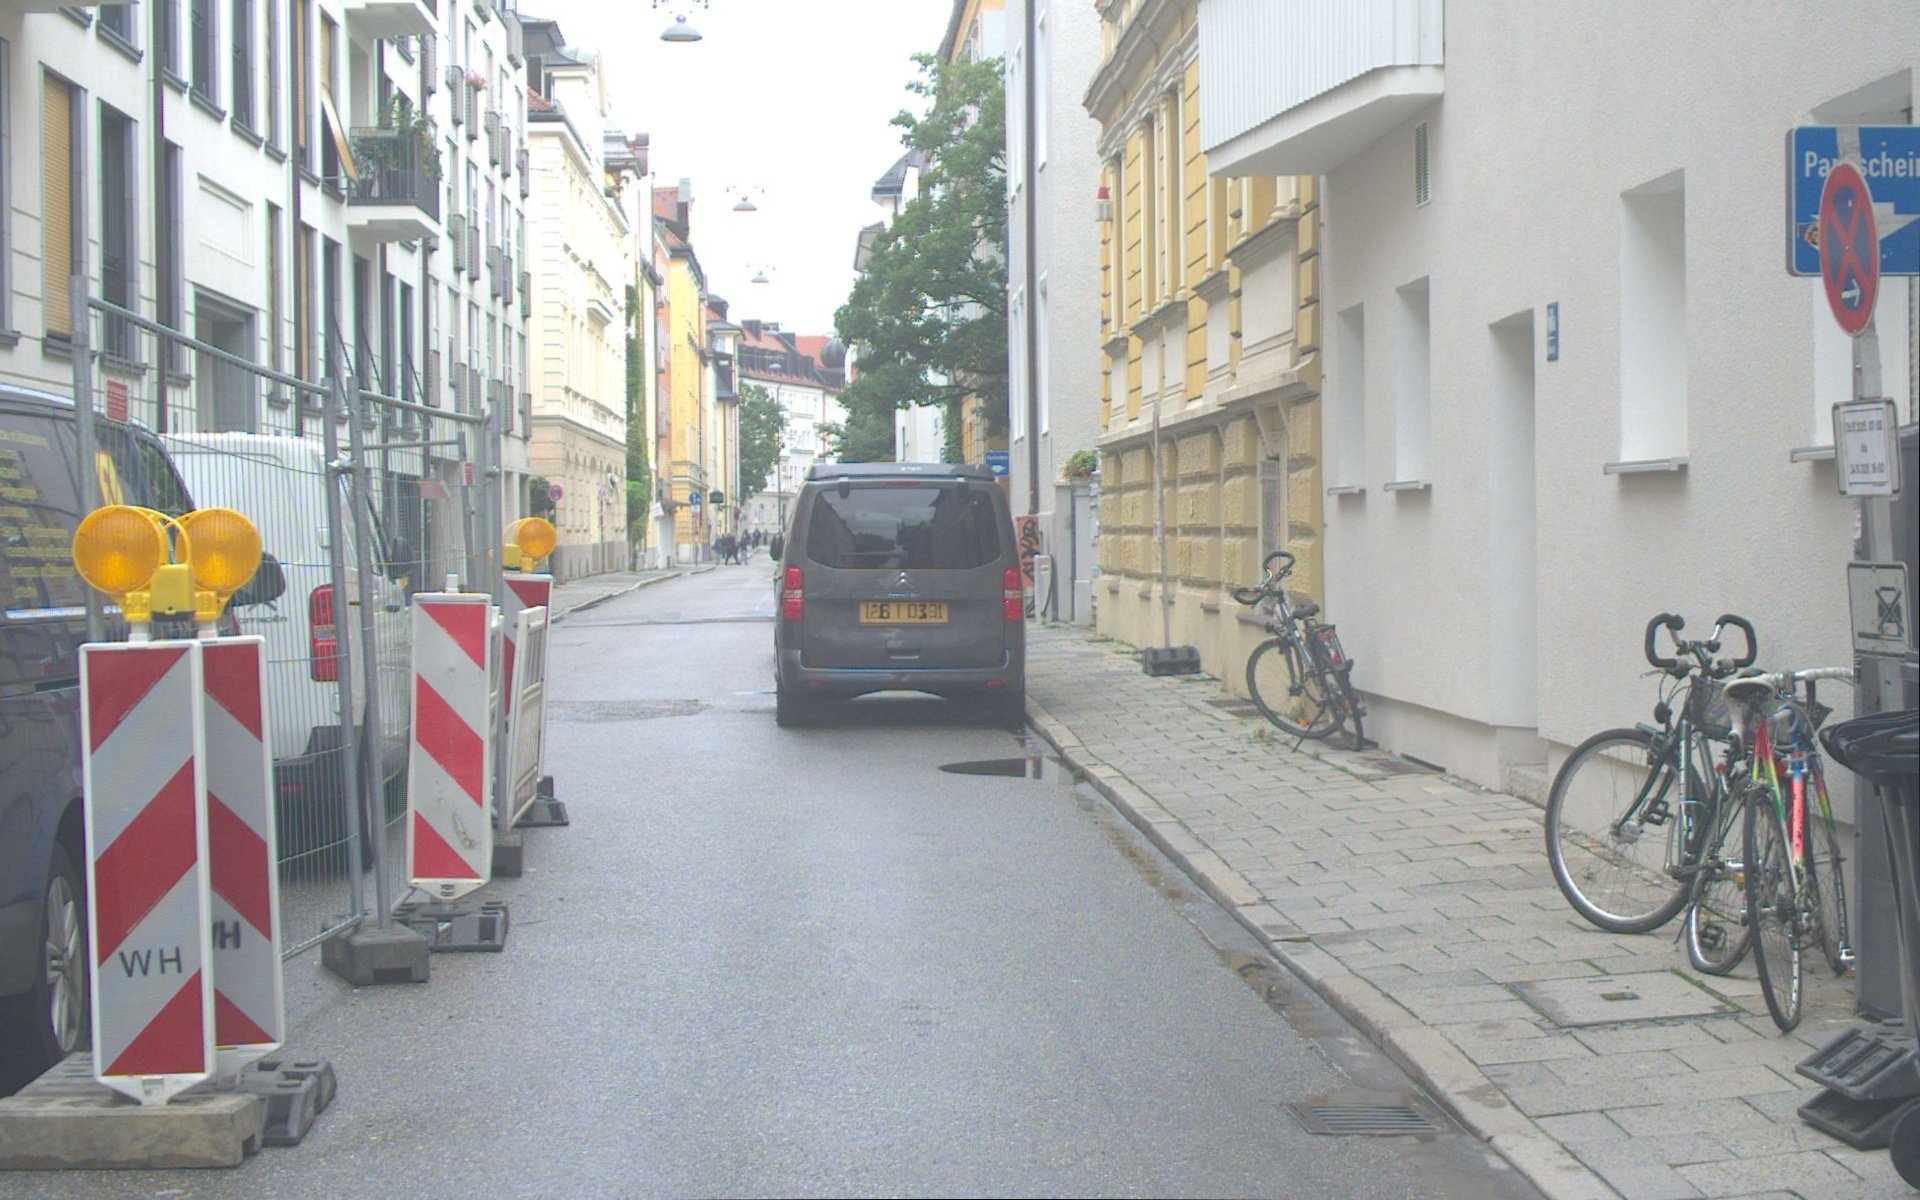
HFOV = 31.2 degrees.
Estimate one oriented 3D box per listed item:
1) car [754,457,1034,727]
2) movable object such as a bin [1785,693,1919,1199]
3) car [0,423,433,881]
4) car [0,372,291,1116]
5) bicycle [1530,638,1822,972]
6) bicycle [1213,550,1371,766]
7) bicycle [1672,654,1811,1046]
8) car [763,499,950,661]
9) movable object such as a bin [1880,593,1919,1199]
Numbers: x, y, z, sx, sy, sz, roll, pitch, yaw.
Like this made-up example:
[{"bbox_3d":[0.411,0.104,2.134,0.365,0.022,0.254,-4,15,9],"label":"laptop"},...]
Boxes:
[{"bbox_3d":[-0.607,-0.112,27.224,1.993,1.925,4.661,1,1,-3],"label":"car"},{"bbox_3d":[2.421,0.740,7.144,1.211,1.091,0.789,-4,1,6],"label":"movable object such as a bin"},{"bbox_3d":[-3.680,0.170,16.814,1.904,1.891,5.090,0,1,-6],"label":"car"},{"bbox_3d":[-3.416,0.346,10.792,1.727,1.891,5.509,-2,1,-3],"label":"car"},{"bbox_3d":[2.354,0.649,11.423,0.404,0.988,1.329,-4,1,-11],"label":"bicycle"},{"bbox_3d":[1.952,0.313,20.411,0.638,1.149,1.915,-3,2,-2],"label":"bicycle"},{"bbox_3d":[2.276,0.695,10.079,0.281,0.988,1.433,-3,1,11],"label":"bicycle"},{"bbox_3d":[-1.172,-0.254,37.219,1.894,1.635,4.322,-1,1,-3],"label":"car"},{"bbox_3d":[2.361,0.639,6.142,1.126,1.341,1.171,-4,1,6],"label":"movable object such as a bin"}]
